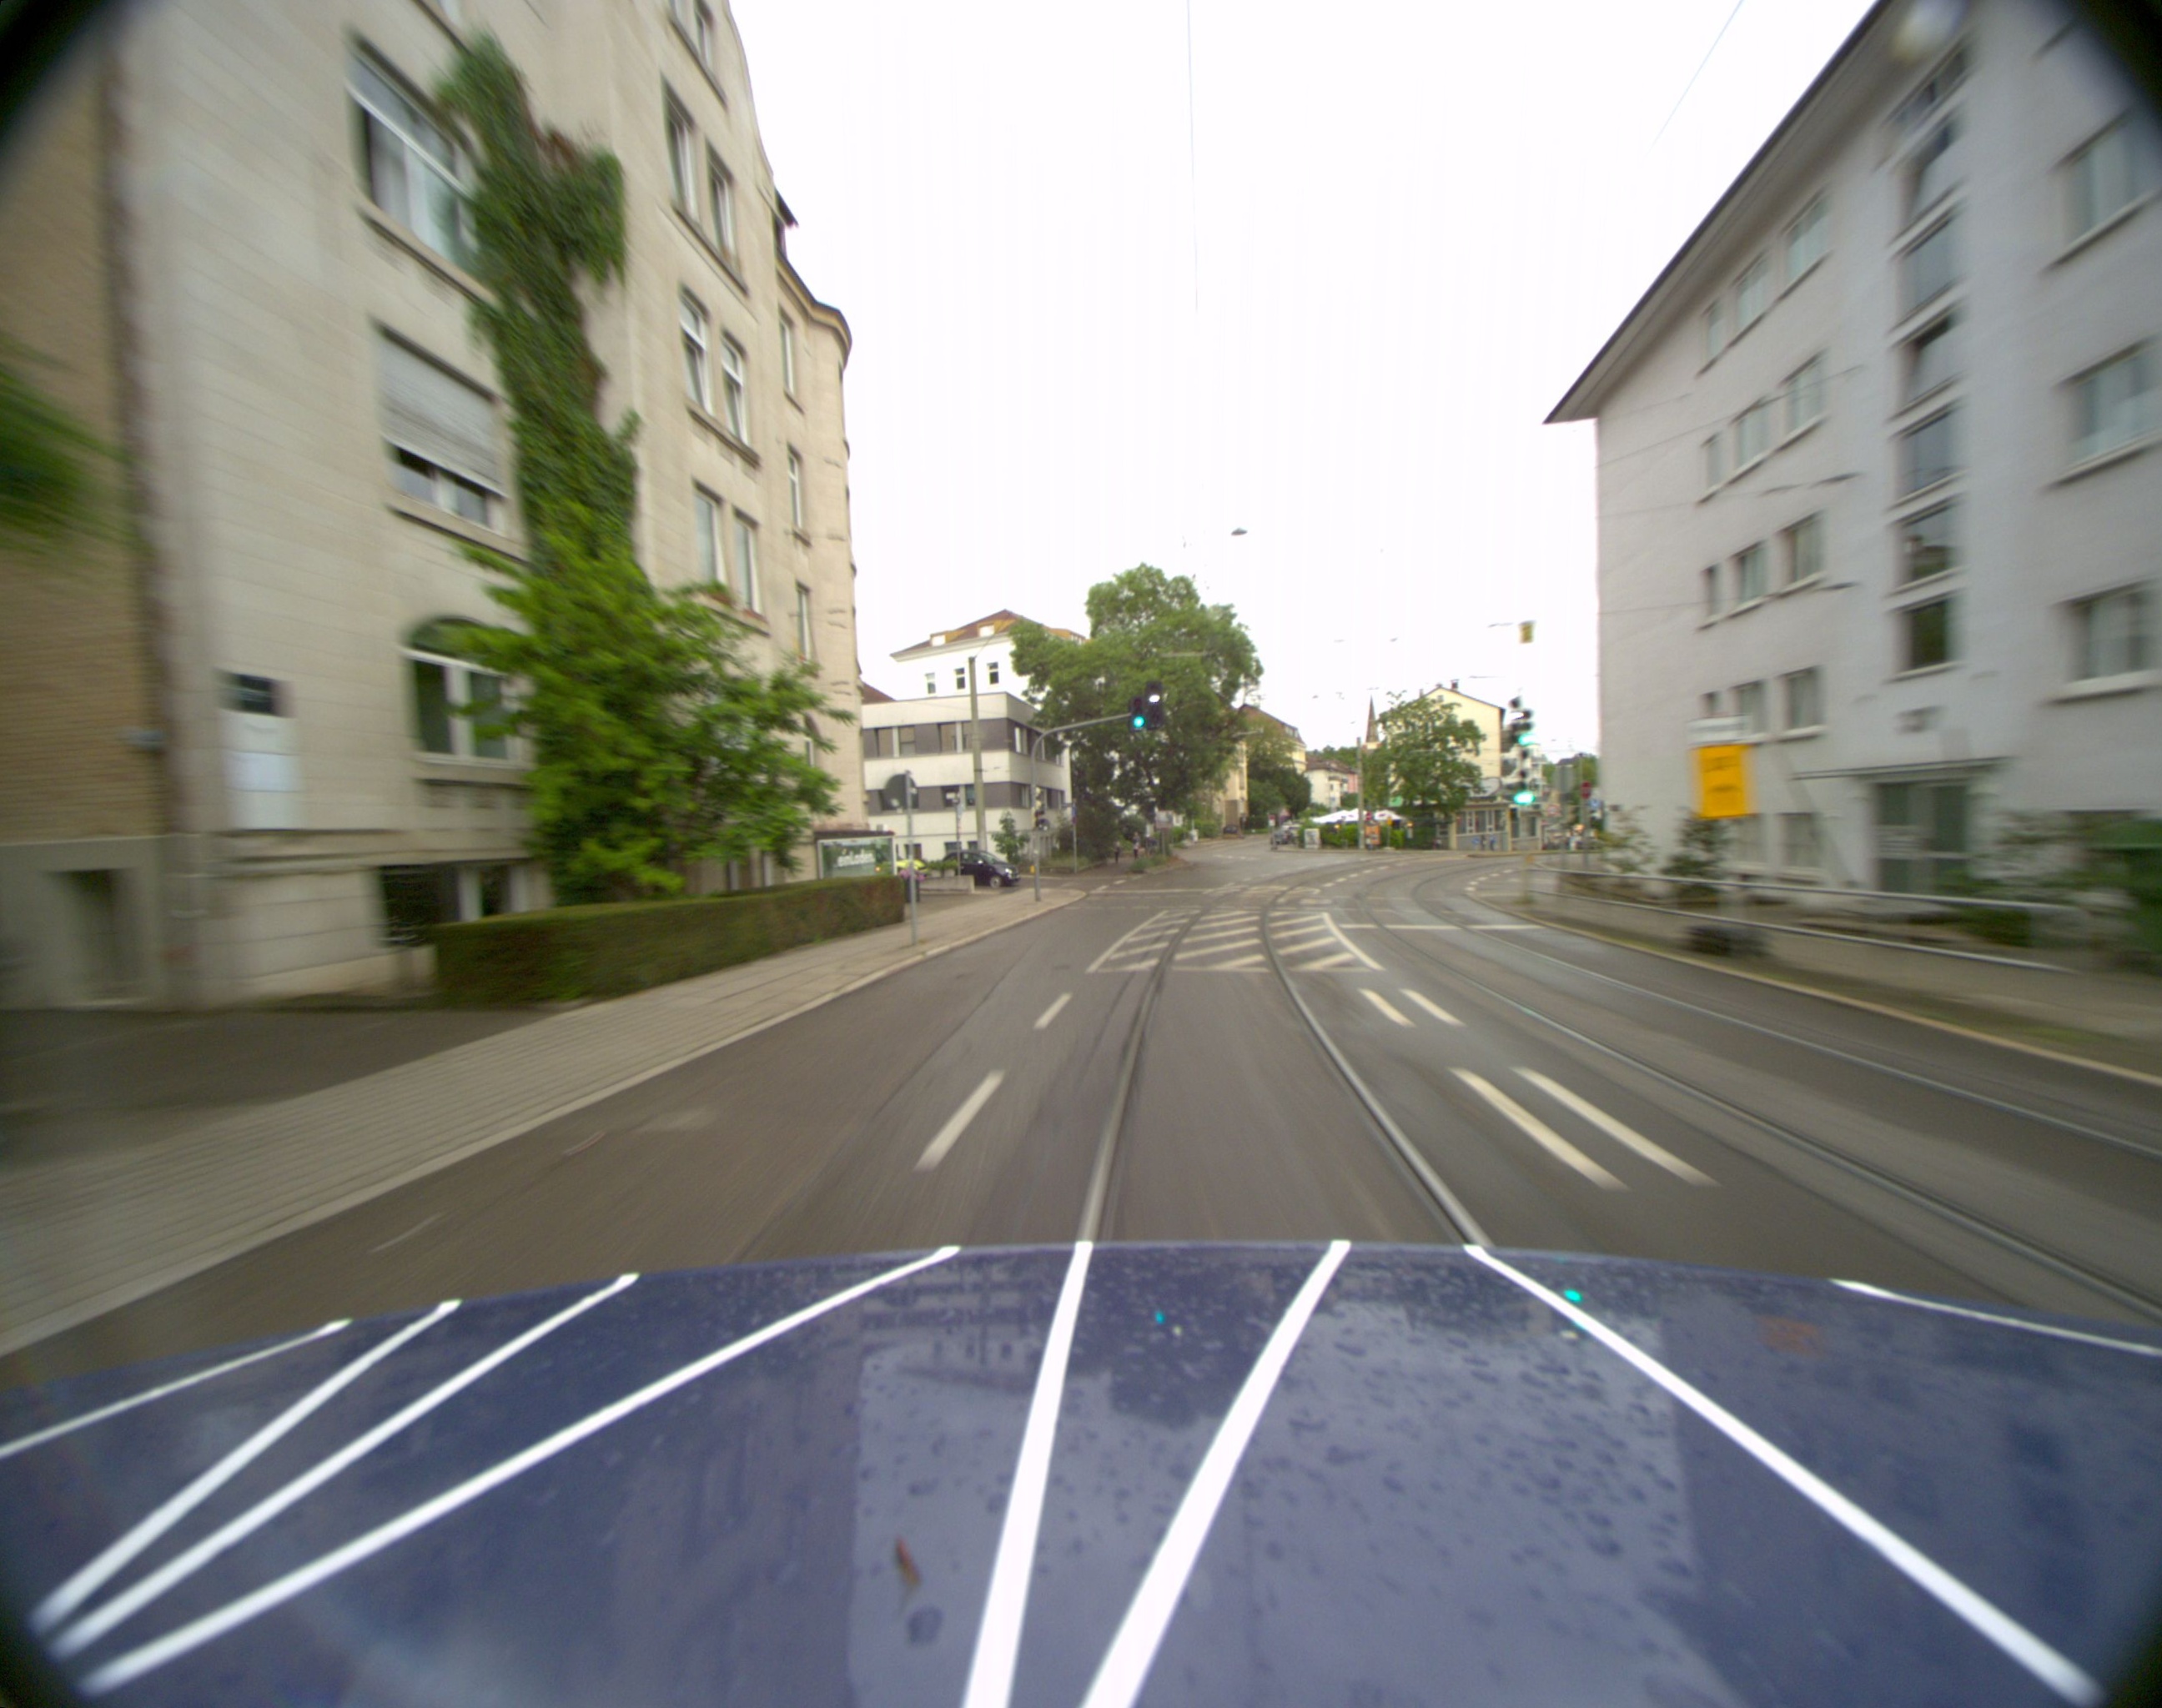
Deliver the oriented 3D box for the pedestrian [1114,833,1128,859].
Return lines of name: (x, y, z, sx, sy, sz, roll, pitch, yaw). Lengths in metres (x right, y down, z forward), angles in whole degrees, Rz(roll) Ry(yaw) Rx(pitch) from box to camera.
pedestrian: (2.689, -0.523, 51.313, 0.743, 1.690, 0.674, 3, 0, 17)

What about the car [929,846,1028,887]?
car: (-4.230, 0.495, 31.496, 3.663, 1.500, 1.739, 2, 2, 14)

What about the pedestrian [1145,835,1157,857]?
pedestrian: (5.013, -0.567, 54.308, 0.547, 1.556, 0.600, 0, -1, -44)

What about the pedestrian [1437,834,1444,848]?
pedestrian: (30.676, -1.134, 64.819, 0.318, 1.144, 0.325, 0, 4, -38)

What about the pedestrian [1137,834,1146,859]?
pedestrian: (4.618, -0.576, 58.099, 0.542, 1.913, 0.917, 0, 3, 10)

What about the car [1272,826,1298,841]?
car: (20.072, -2.012, 74.536, 1.689, 1.434, 3.810, 1, 2, 27)

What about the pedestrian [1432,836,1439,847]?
pedestrian: (30.242, -1.071, 64.801, 0.318, 0.990, 0.325, 0, 4, -38)

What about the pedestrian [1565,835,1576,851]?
pedestrian: (50.935, -1.147, 79.066, 0.609, 1.704, 0.719, 1, 2, -25)

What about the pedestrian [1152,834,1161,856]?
pedestrian: (5.621, -0.677, 56.492, 0.544, 1.620, 0.603, 0, -1, 22)

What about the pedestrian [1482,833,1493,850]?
pedestrian: (36.607, -1.140, 68.417, 0.560, 1.545, 0.545, 0, 3, -37)

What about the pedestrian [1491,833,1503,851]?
pedestrian: (37.075, -1.072, 67.728, 0.651, 1.545, 0.588, 0, 3, -35)

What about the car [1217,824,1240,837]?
car: (18.021, -2.875, 92.709, 1.596, 1.333, 3.642, -1, -1, 30)

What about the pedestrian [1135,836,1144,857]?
pedestrian: (4.161, -0.541, 54.025, 0.386, 1.498, 0.537, -3, 4, -41)

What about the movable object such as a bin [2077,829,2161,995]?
movable object such as a bin: (10.053, 0.506, 6.570, 1.187, 1.453, 1.291, 0, 0, 11)

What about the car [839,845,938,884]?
car: (-8.167, 0.424, 32.364, 3.663, 1.500, 1.739, 2, 2, 14)

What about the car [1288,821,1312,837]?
car: (23.302, -2.671, 80.741, 1.689, 1.680, 3.810, 1, 2, 27)
